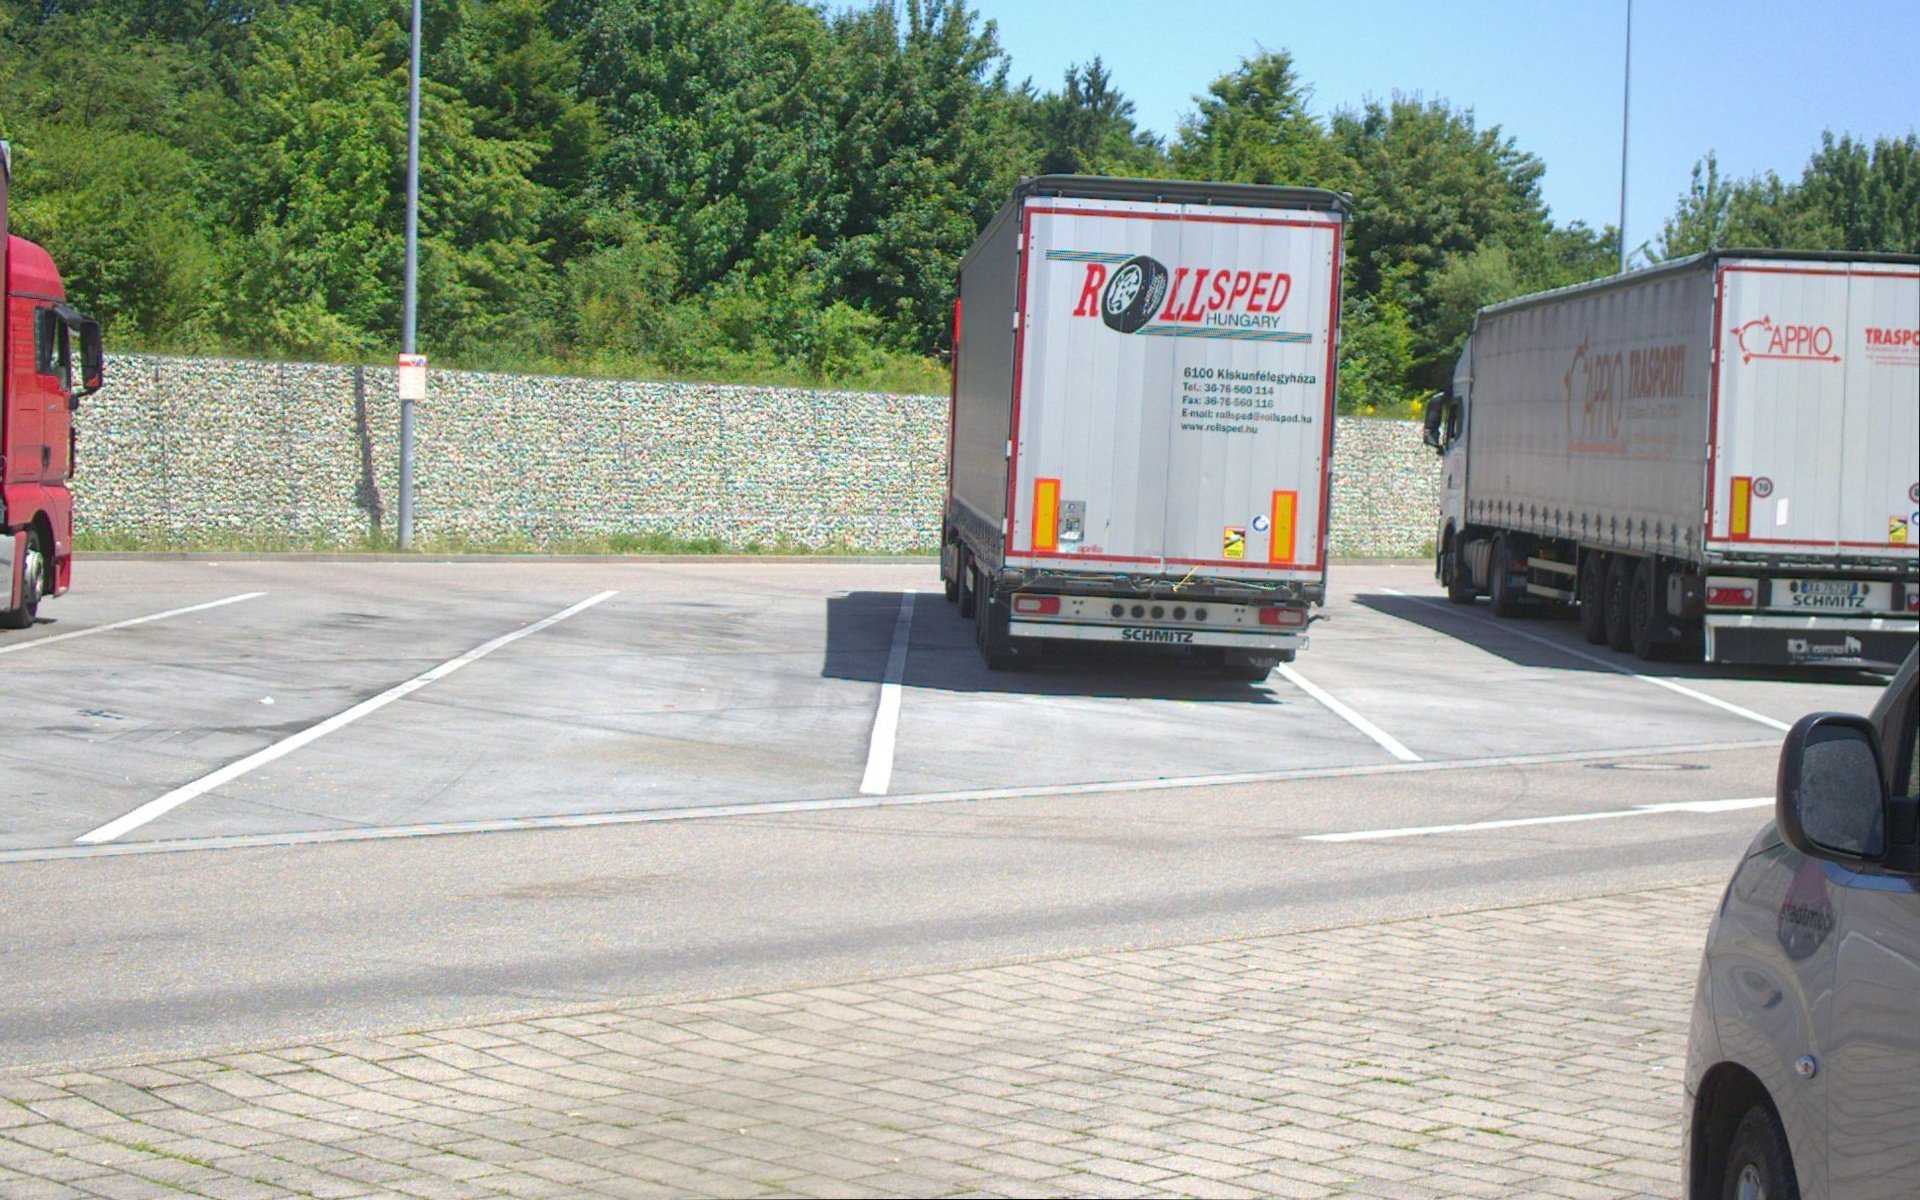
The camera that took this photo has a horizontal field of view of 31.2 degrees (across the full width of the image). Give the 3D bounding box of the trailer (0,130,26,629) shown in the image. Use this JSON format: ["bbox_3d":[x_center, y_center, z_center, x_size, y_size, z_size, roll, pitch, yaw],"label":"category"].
[{"bbox_3d":[-9.178,-1.490,21.579,2.791,4.071,14.133,2,3,-1],"label":"trailer"}]

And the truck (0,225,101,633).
[{"bbox_3d":[-9.222,-1.446,28.153,2.851,3.316,5.900,2,3,-1],"label":"truck"}]

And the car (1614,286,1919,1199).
[{"bbox_3d":[2.165,0.586,3.860,1.869,1.857,4.177,2,2,-2],"label":"car"}]

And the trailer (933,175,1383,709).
[{"bbox_3d":[1.464,-1.594,33.629,3.133,3.976,14.397,2,3,-1],"label":"trailer"}]

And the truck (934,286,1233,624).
[{"bbox_3d":[1.328,-1.737,40.521,3.103,3.554,5.900,2,3,-1],"label":"truck"}]

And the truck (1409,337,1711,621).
[{"bbox_3d":[8.038,-1.700,46.841,2.862,3.509,5.900,2,3,-1],"label":"truck"}]

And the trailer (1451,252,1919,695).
[{"bbox_3d":[8.131,-1.524,38.741,2.811,3.976,14.396,2,3,-1],"label":"trailer"}]

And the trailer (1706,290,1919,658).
[{"bbox_3d":[11.772,-1.456,39.793,2.811,3.976,14.396,2,3,-1],"label":"trailer"}]
